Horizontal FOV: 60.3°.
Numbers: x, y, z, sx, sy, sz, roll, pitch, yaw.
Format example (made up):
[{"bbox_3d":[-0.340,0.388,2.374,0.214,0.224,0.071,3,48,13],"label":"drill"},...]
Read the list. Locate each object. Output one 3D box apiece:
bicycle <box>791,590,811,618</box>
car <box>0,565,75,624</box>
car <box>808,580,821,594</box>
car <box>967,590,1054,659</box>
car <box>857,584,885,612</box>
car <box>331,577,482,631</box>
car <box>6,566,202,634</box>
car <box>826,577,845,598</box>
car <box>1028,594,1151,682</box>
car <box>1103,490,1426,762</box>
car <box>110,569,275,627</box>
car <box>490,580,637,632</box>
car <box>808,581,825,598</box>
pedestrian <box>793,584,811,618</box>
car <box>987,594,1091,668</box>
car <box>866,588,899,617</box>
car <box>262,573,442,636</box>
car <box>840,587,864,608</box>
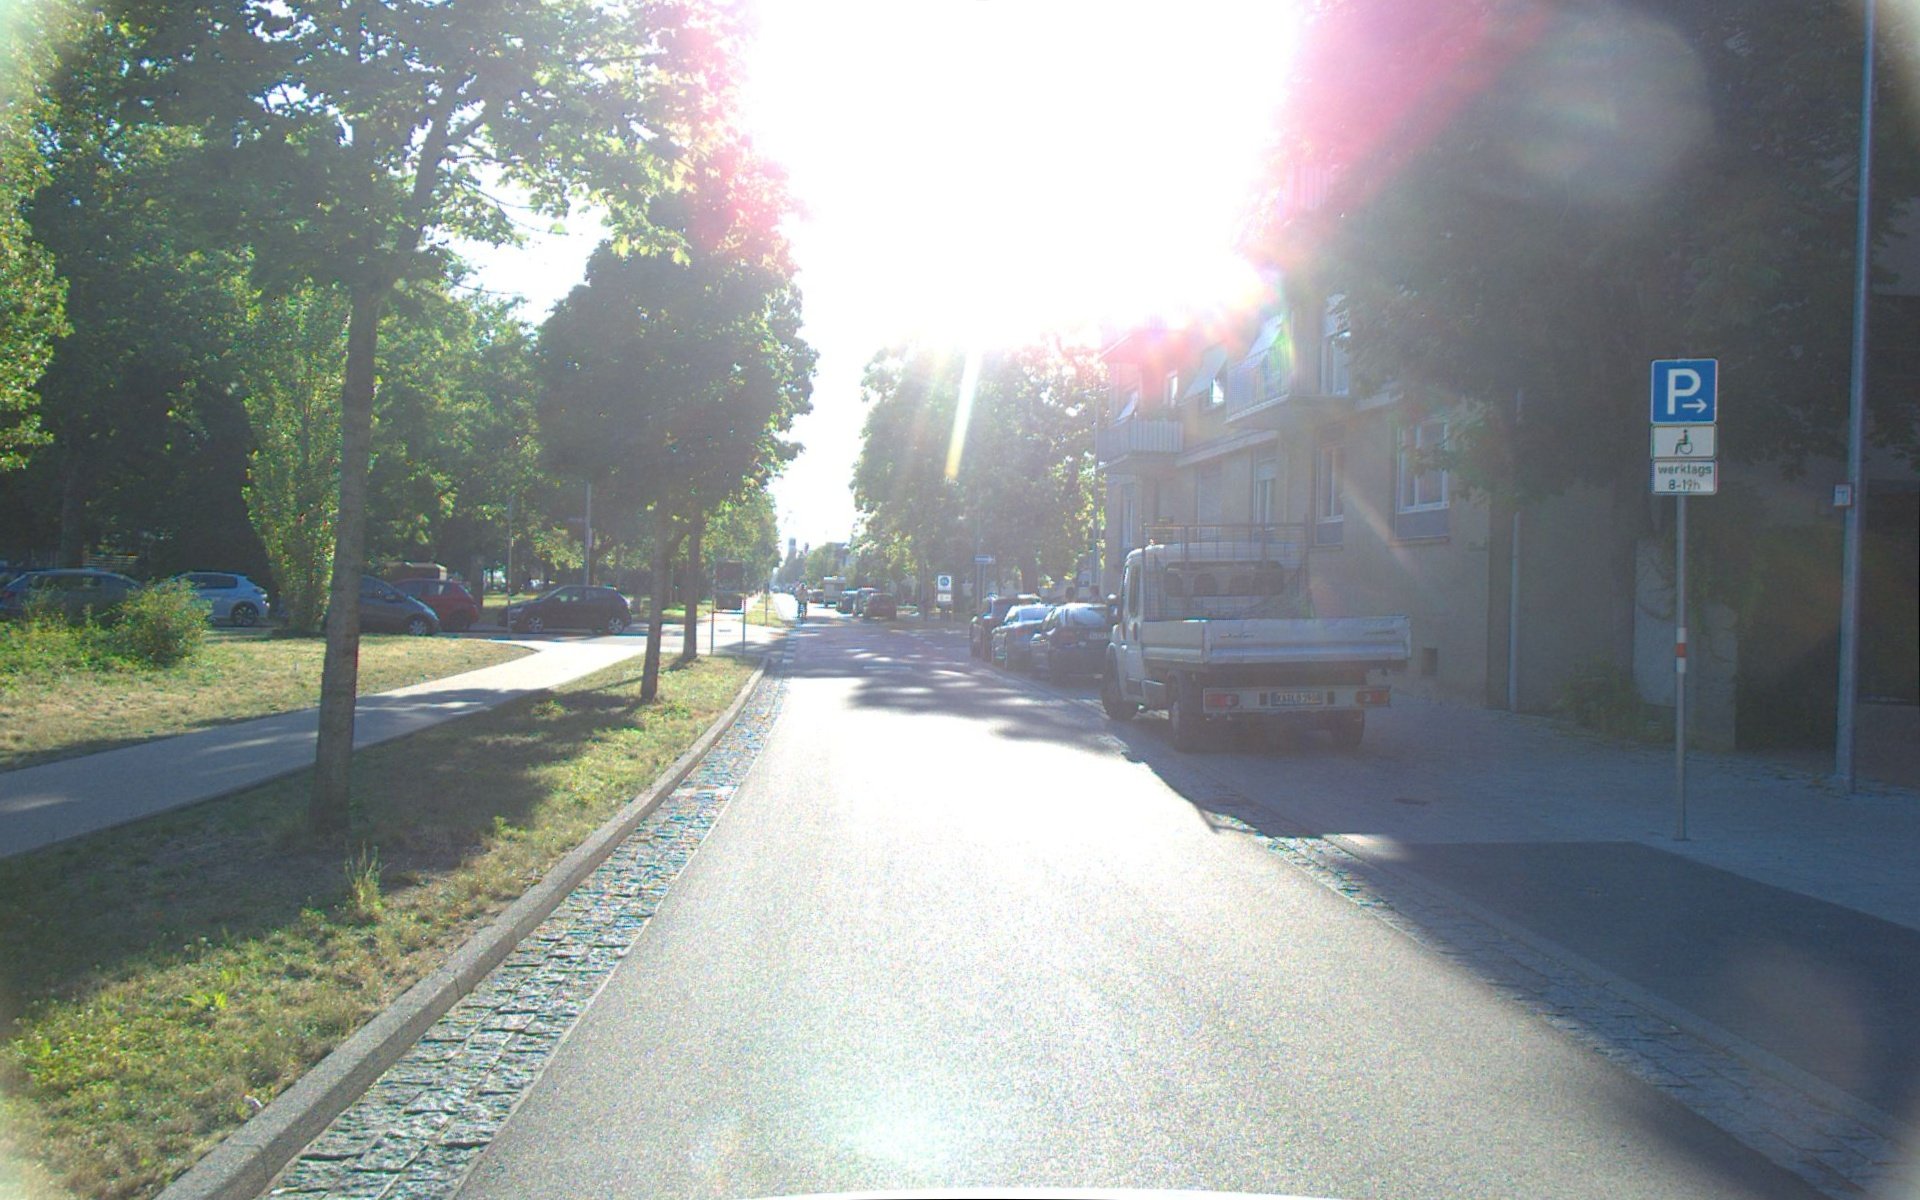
[{"bbox_3d":[-7.004,0.171,73.021,0.674,1.223,2.342,2,0,-1],"label":"bicycle"},{"bbox_3d":[-25.044,-0.176,42.513,3.938,1.445,1.757,1,0,-27],"label":"car"},{"bbox_3d":[-22.248,-1.992,252.853,1.955,2.004,3.996,2,0,-5],"label":"car"},{"bbox_3d":[1.195,0.571,40.988,1.658,1.592,4.099,0,1,-6],"label":"car"},{"bbox_3d":[-5.821,-0.158,107.747,1.758,1.754,3.997,2,0,-4],"label":"car"},{"bbox_3d":[-15.884,0.112,47.506,3.868,1.445,1.756,1,0,-28],"label":"car"},{"bbox_3d":[-19.900,0.002,38.542,3.943,1.445,1.755,1,0,-29],"label":"car"},{"bbox_3d":[-12.002,-1.213,159.786,1.758,2.034,3.997,2,0,-4],"label":"car"},{"bbox_3d":[2.293,0.647,30.093,1.658,1.465,3.546,0,1,-6],"label":"car"},{"bbox_3d":[3.192,0.213,18.917,2.167,2.574,6.143,-1,1,-4],"label":"car"},{"bbox_3d":[-20.696,-0.059,44.665,3.938,1.445,1.757,1,0,-27],"label":"car"},{"bbox_3d":[-11.880,0.187,49.625,3.948,1.445,1.753,1,0,-32],"label":"car"},{"bbox_3d":[-17.444,-1.318,201.137,1.955,2.004,3.996,2,0,-5],"label":"car"},{"bbox_3d":[-6.976,0.024,73.074,0.674,1.459,1.024,2,0,-1],"label":"pedestrian"},{"bbox_3d":[1.644,0.632,35.576,1.658,1.465,4.099,0,1,-6],"label":"car"},{"bbox_3d":[-4.375,0.133,93.678,1.757,1.536,3.999,2,0,-1],"label":"car"},{"bbox_3d":[-15.120,0.126,41.176,3.946,1.445,1.754,1,0,-31],"label":"car"},{"bbox_3d":[-8.023,-0.196,122.703,1.758,1.536,3.997,2,0,-4],"label":"car"}]
